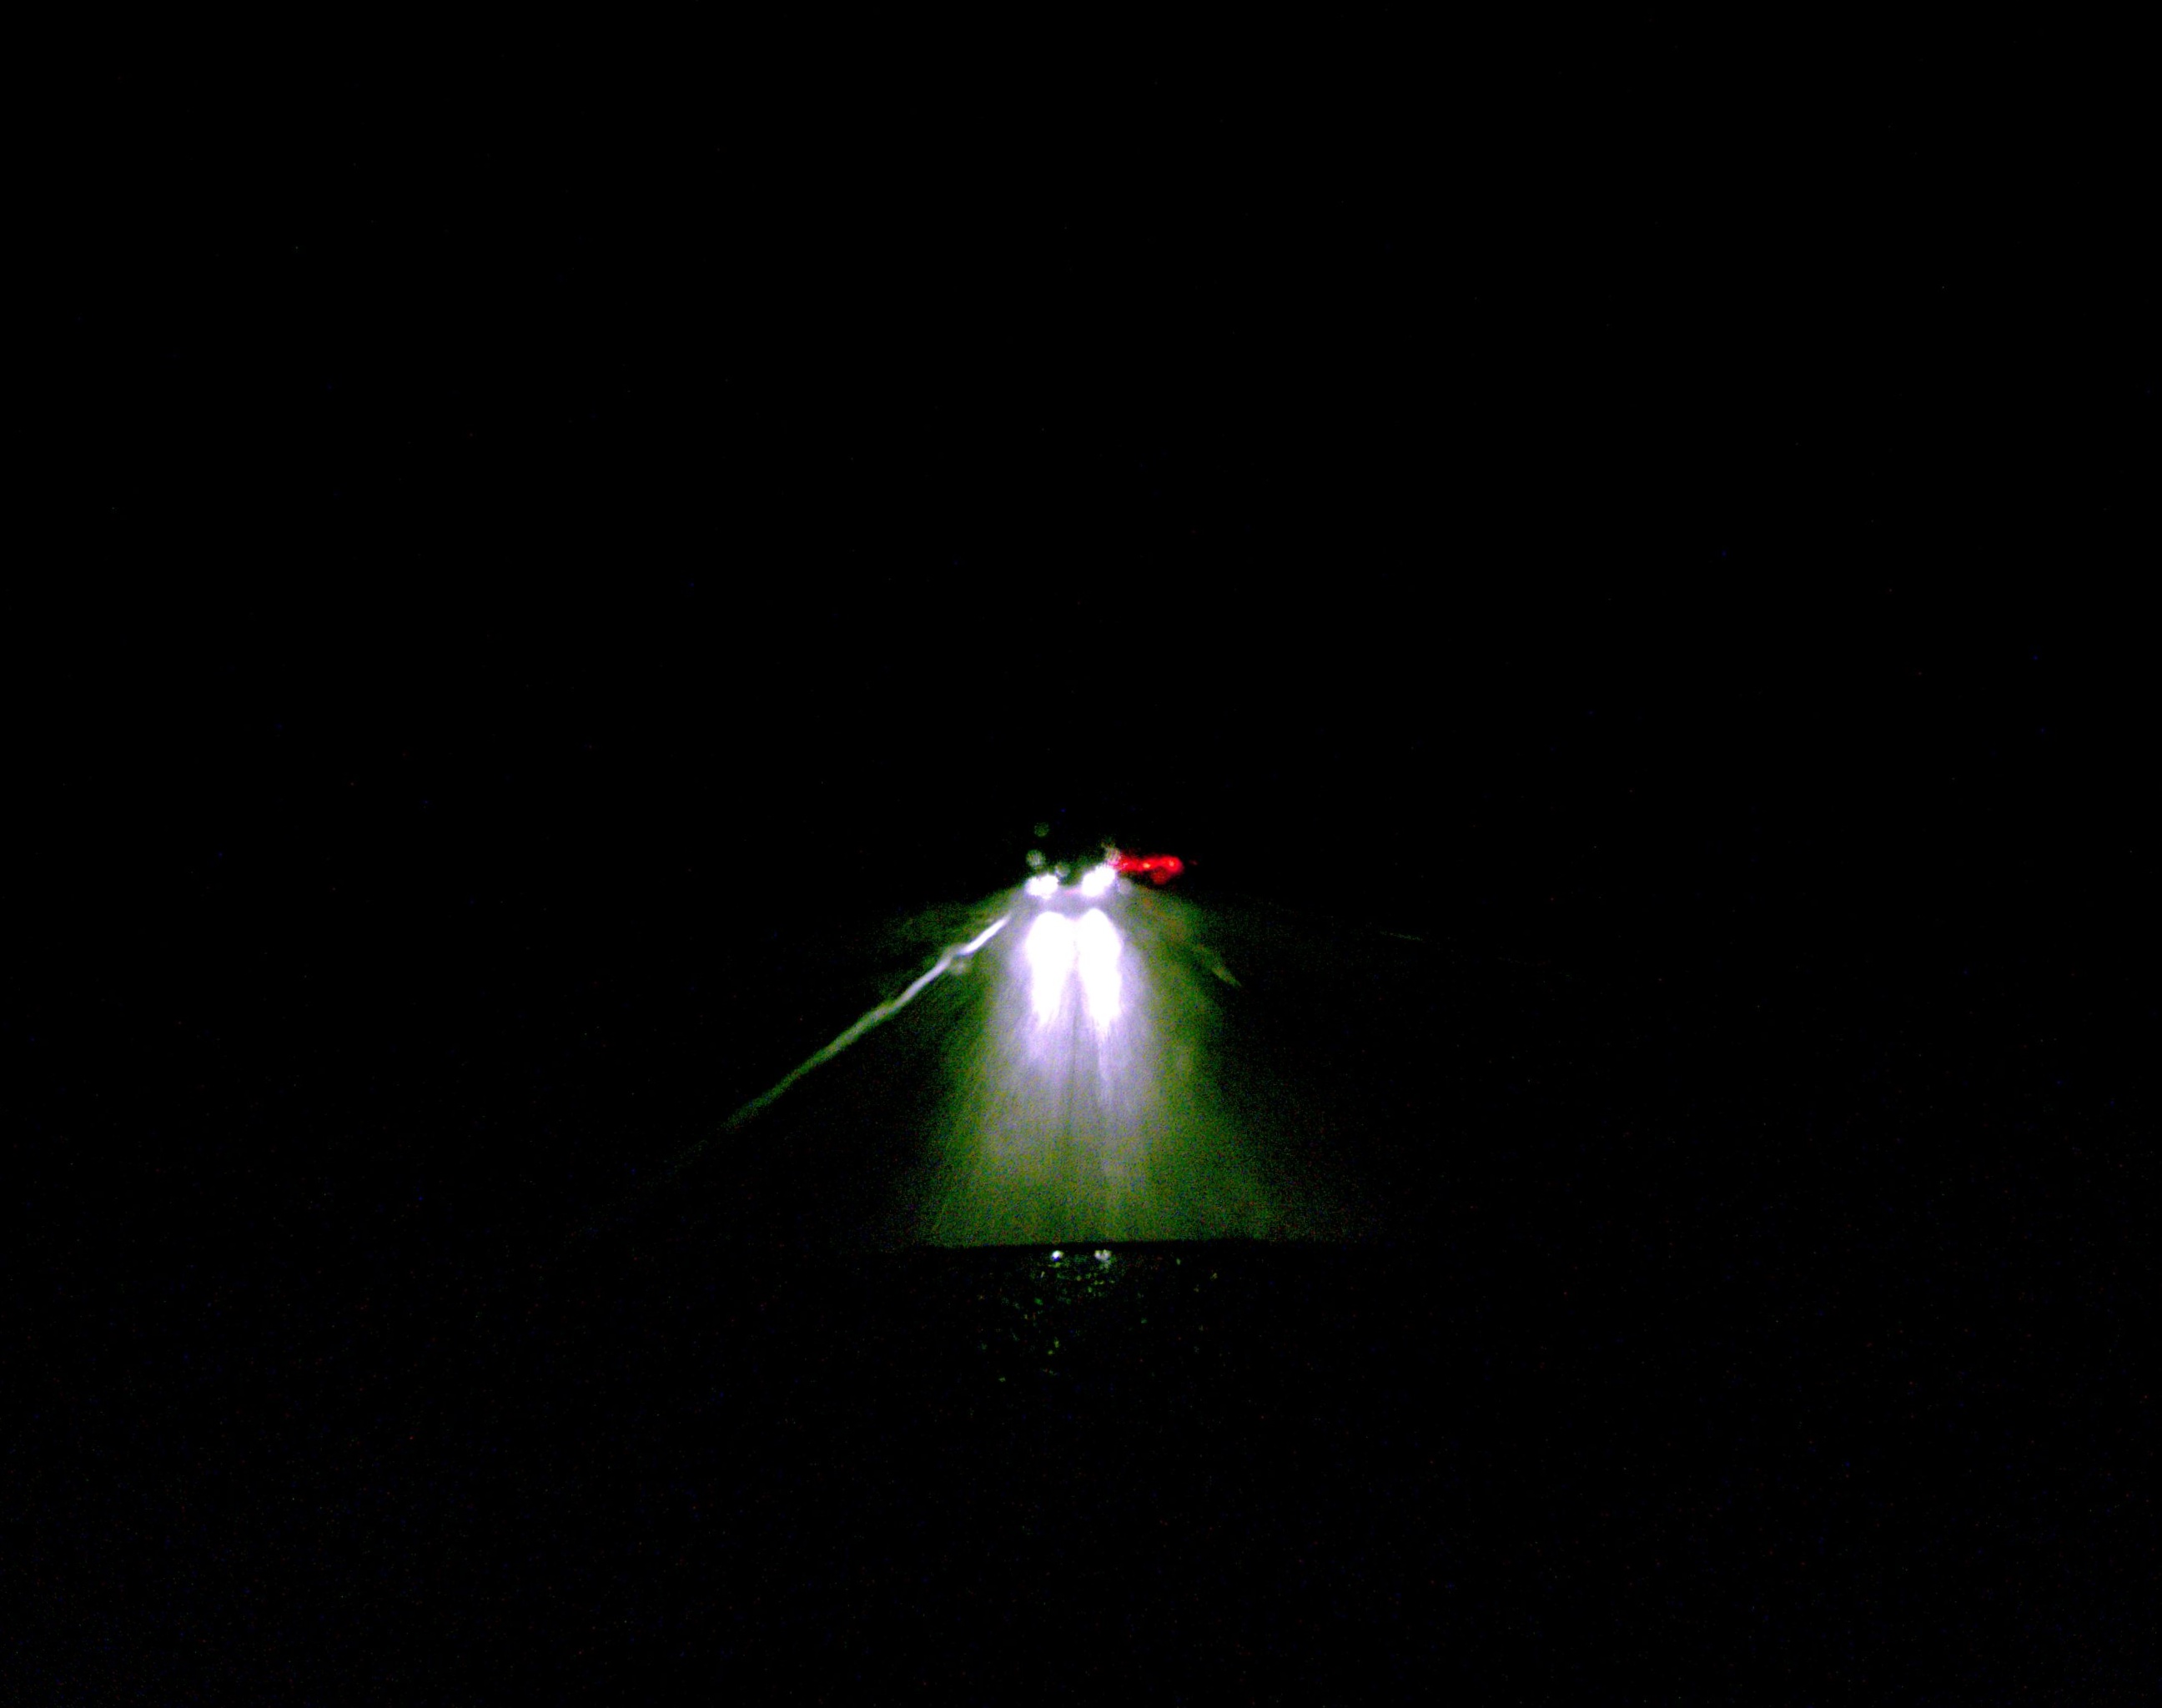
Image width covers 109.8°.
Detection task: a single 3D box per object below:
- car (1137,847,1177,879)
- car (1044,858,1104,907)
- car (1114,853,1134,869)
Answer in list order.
[{"bbox_3d":[4.186,0.490,42.606,1.864,1.628,4.143,-1,0,1],"label":"car"},{"bbox_3d":[-0.181,0.936,26.310,1.744,1.501,3.601,-3,0,3],"label":"car"},{"bbox_3d":[4.278,0.717,76.204,1.790,1.501,3.600,-2,0,1],"label":"car"}]
